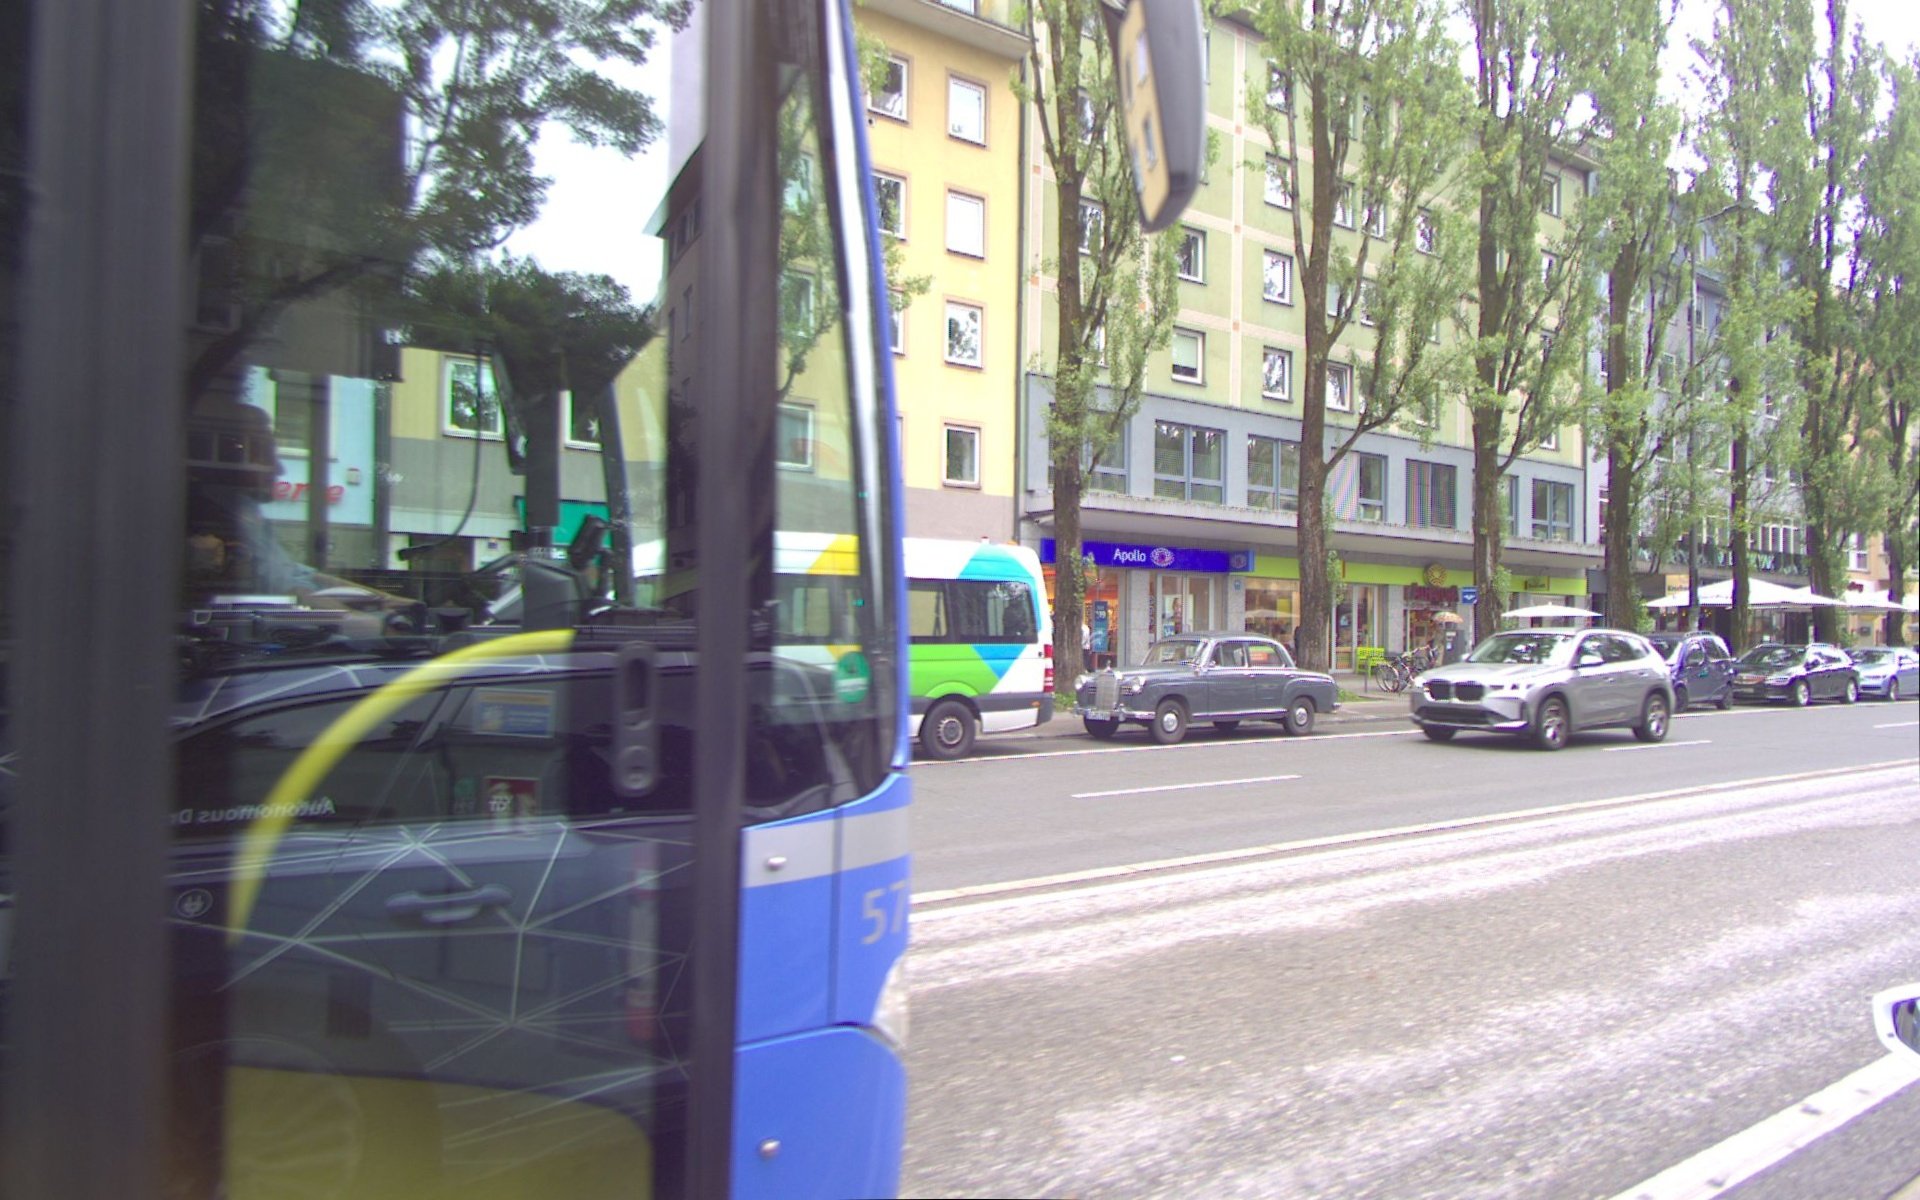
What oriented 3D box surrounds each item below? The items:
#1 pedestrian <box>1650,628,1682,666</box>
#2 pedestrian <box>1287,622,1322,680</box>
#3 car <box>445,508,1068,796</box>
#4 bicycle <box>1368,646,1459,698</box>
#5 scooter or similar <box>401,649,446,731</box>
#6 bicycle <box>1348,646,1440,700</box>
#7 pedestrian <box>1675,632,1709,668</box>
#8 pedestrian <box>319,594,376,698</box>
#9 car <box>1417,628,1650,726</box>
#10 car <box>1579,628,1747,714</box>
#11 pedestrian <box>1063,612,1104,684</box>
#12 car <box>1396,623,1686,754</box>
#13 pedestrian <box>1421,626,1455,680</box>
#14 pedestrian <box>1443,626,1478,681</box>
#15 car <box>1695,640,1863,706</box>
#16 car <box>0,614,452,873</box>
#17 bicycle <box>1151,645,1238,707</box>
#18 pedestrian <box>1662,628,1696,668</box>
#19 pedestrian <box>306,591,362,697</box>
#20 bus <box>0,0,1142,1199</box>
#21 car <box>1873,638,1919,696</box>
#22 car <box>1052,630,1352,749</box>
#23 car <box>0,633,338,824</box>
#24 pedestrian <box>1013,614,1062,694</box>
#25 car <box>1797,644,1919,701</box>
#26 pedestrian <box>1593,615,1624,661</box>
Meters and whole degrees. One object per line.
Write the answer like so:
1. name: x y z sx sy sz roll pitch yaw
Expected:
1. pedestrian: 27.379 1.827 38.971 0.792 1.428 0.760 2 0 -35
2. pedestrian: 10.392 1.543 30.289 0.749 1.708 0.670 2 -3 -29
3. car: -2.084 0.591 11.681 6.831 2.601 1.996 2 -3 -30
4. bicycle: 11.133 1.744 24.724 0.712 1.110 1.933 1 1 -35
5. scooter or similar: -7.460 1.211 13.941 0.416 1.040 1.764 1 -2 -32
6. bicycle: 10.455 1.740 24.253 0.712 1.110 1.933 1 1 -35
7. pedestrian: 29.754 2.033 40.810 0.755 1.428 0.797 2 0 -18
8. pedestrian: -10.424 0.787 17.122 0.717 1.722 0.695 1 -2 -25
9. car: 11.063 1.423 19.299 4.557 1.686 1.858 2 -3 -30
10. car: 15.513 1.532 22.121 3.880 1.743 1.700 2 -3 -33
11. pedestrian: 2.978 1.160 24.264 0.667 1.708 0.753 2 -3 -29
12. car: 8.504 1.200 14.606 4.405 1.656 1.762 2 -3 -31
13. pedestrian: 15.297 1.706 32.161 0.667 1.708 0.753 2 -3 -28
14. pedestrian: 15.668 1.680 31.469 0.667 1.708 0.753 2 -3 -28
15. car: 20.200 1.762 24.749 4.299 1.508 1.790 2 -3 -30
16. car: -5.631 0.847 6.509 4.081 1.453 1.738 2 -3 -30
17. bicycle: 4.824 1.543 20.790 0.710 1.110 1.862 1 1 -27
18. pedestrian: 26.752 1.792 37.371 0.792 1.428 0.760 2 0 -35
19. pedestrian: -10.988 0.771 17.666 0.717 1.818 0.695 1 -2 -25
20. bus: -4.618 -0.230 0.347 9.936 2.988 2.676 2 -2 -31
21. car: 29.474 1.989 30.137 4.349 1.687 1.858 2 -3 -30
22. car: 3.698 1.276 15.195 4.362 1.572 1.858 2 -3 -30
23. car: -7.629 1.006 8.328 4.100 1.438 1.729 2 -3 -30
24. pedestrian: 1.696 1.183 22.057 0.775 1.708 0.753 2 -3 -28
25. car: 24.780 1.934 27.385 4.095 1.444 1.725 2 -3 -30
26. pedestrian: 24.653 1.445 38.171 0.667 1.708 0.753 2 -3 -29
